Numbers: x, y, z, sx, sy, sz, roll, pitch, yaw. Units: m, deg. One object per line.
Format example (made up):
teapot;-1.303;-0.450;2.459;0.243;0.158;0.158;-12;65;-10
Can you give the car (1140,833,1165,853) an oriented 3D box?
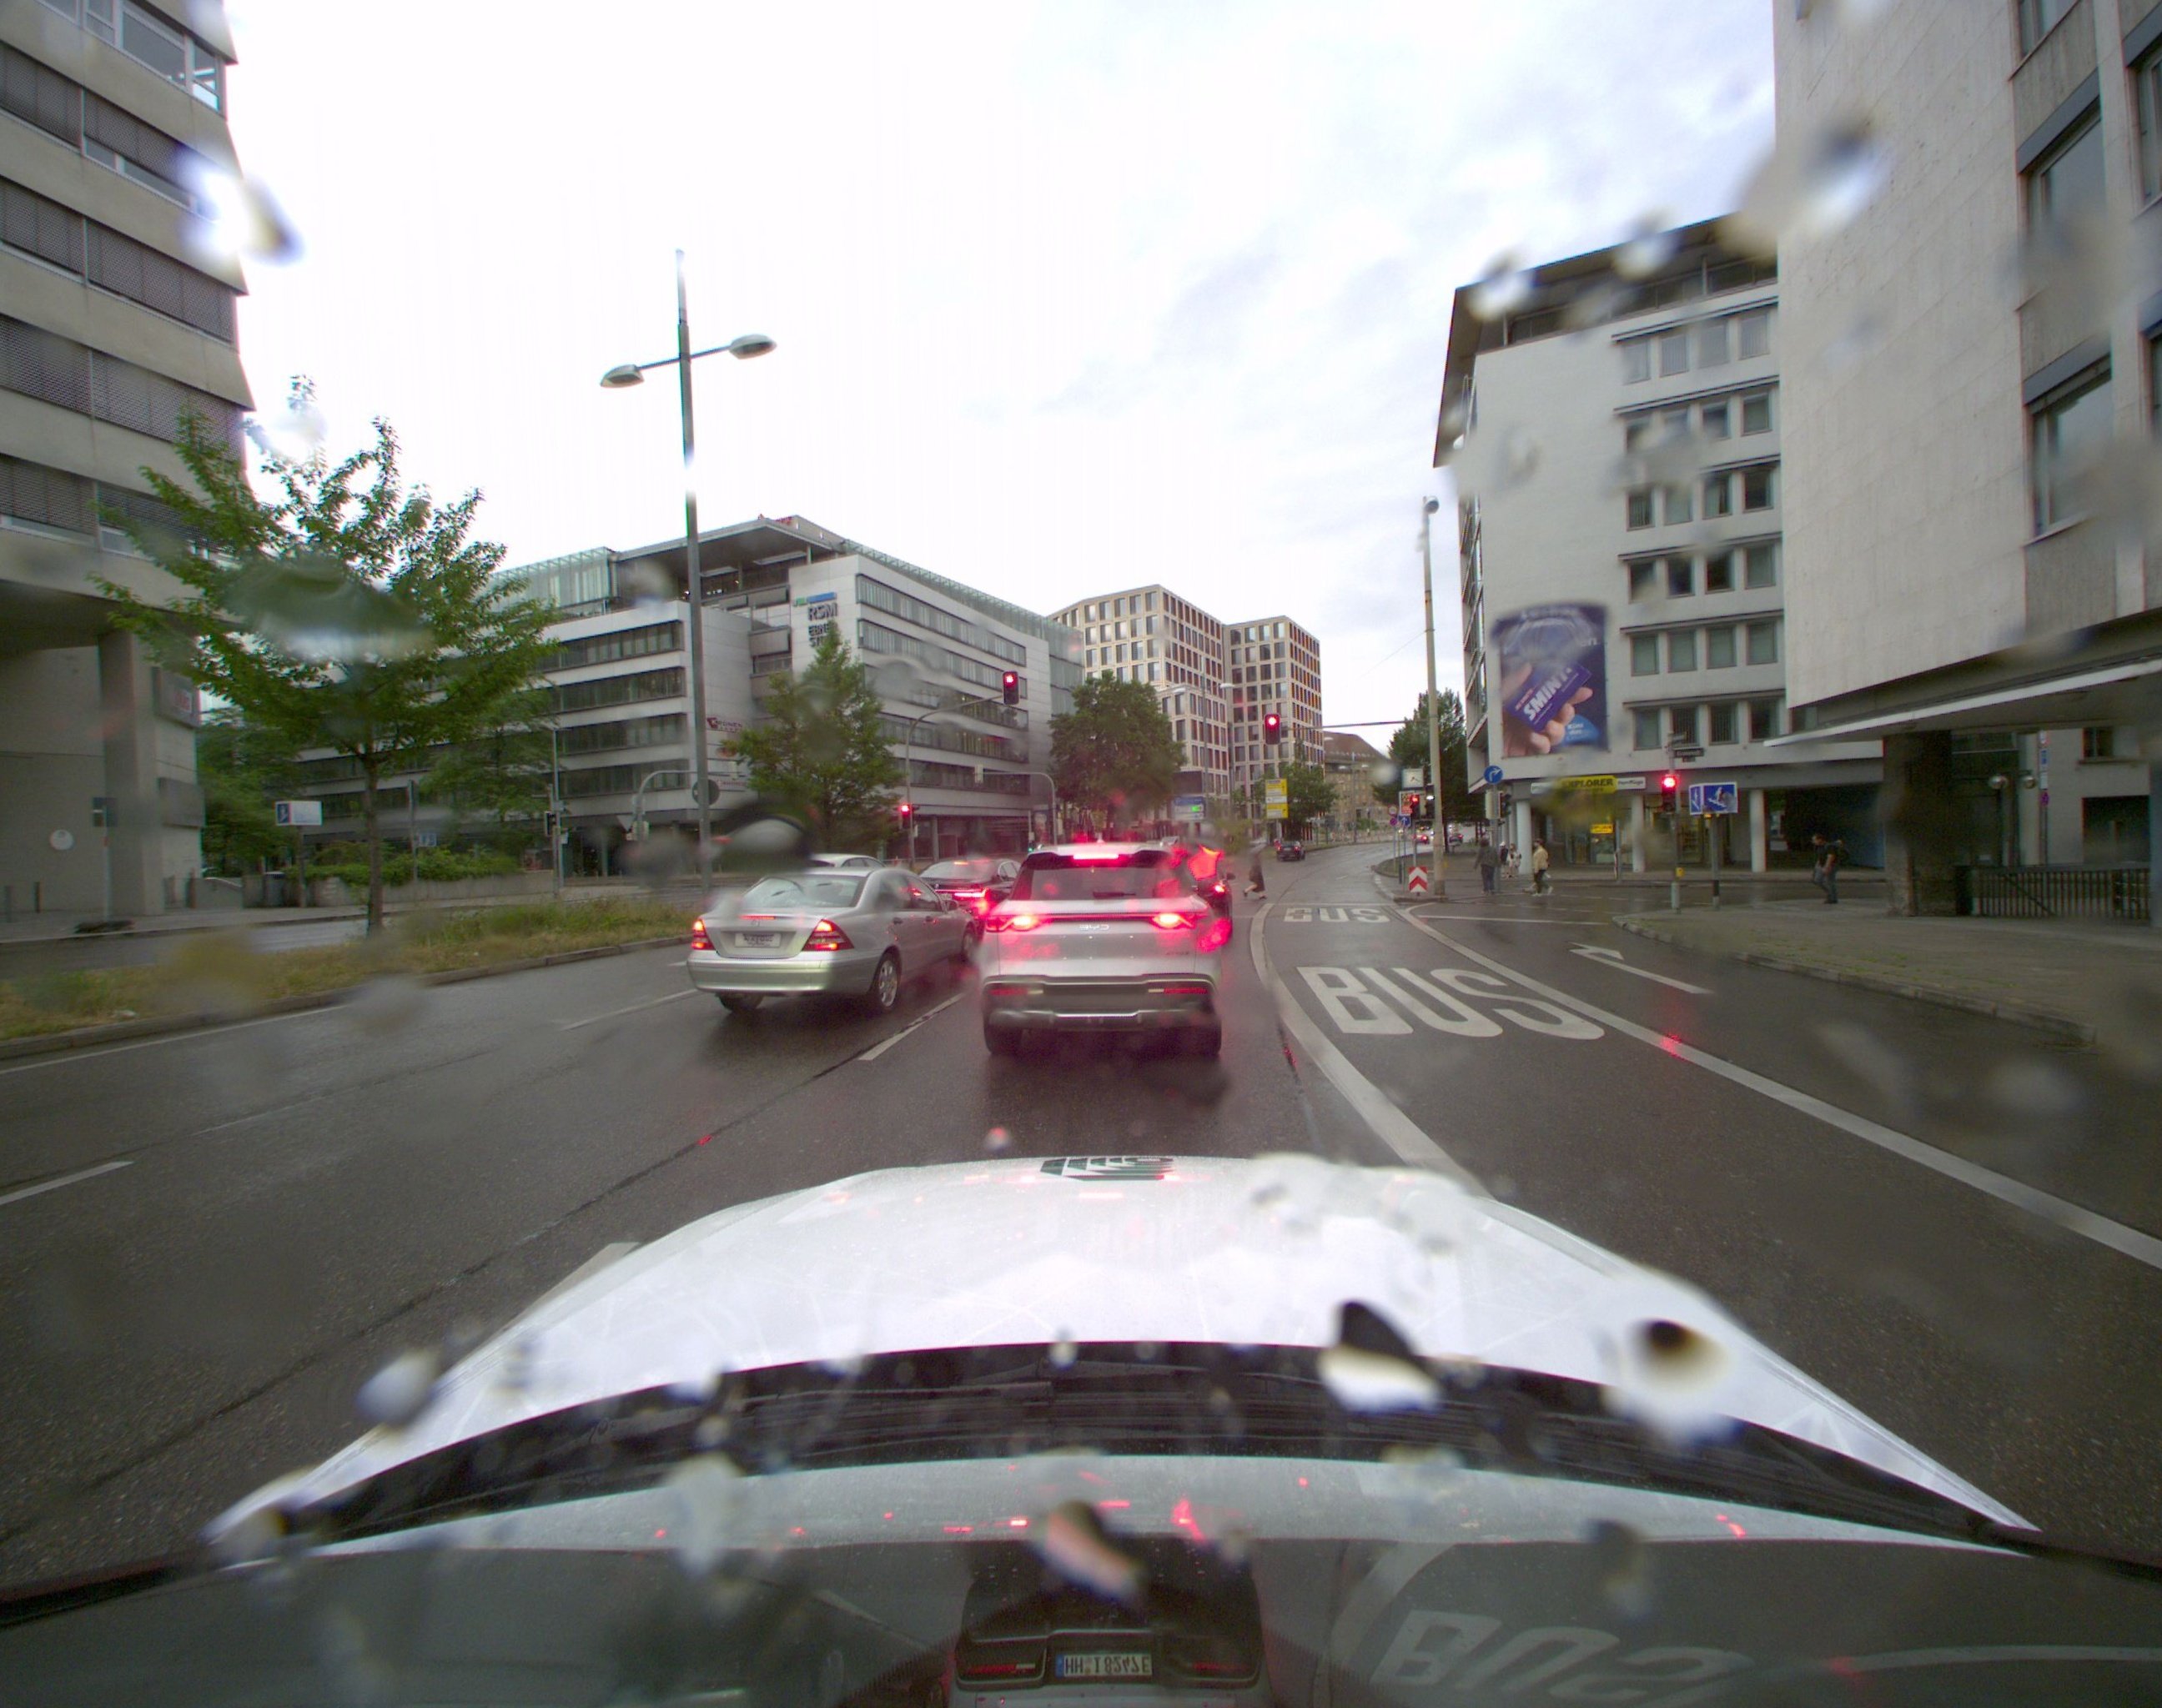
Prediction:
car;7.985;-1.210;90.451;1.723;2.161;4.516;0;0;20

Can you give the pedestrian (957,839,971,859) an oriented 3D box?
pedestrian;-9.854;-0.423;68.542;0.721;1.727;0.930;-1;0;23

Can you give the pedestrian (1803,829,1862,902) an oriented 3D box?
pedestrian;18.467;0.274;20.014;0.800;1.755;1.005;0;-1;-44

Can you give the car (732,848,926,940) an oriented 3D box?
car;-4.829;0.696;16.270;1.871;1.596;4.015;-1;0;14

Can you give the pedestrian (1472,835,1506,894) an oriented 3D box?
pedestrian;12.750;0.321;25.446;0.806;1.798;0.714;-1;0;17

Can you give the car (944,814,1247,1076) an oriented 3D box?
car;0.264;0.597;7.685;1.984;1.709;4.488;-2;0;4

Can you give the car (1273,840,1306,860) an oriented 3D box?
car;16.418;-0.336;63.857;1.976;1.552;4.022;0;1;22

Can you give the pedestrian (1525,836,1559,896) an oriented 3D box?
pedestrian;14.014;0.355;24.749;0.721;1.798;0.742;-1;0;17

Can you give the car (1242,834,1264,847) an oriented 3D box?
car;25.243;-2.006;119.175;1.975;1.705;4.336;-1;2;29

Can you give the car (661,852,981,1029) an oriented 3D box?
car;-2.543;0.751;9.164;1.672;1.486;4.207;-1;0;9

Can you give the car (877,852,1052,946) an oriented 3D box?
car;-2.043;0.755;15.568;1.941;1.530;4.014;-1;0;13

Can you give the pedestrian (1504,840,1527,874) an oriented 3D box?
pedestrian;19.554;0.134;36.653;0.721;1.524;0.763;-1;-1;17

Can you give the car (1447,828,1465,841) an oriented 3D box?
car;54.881;-2.857;119.073;2.027;1.765;4.384;0;1;30

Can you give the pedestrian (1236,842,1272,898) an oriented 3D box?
pedestrian;5.523;0.504;26.023;0.920;1.738;0.729;-1;0;-3

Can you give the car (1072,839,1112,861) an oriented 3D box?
car;1.016;-0.367;71.878;1.975;1.705;4.024;-1;2;25

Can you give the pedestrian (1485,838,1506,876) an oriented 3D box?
pedestrian;18.878;0.132;37.091;0.721;1.668;0.694;-1;-1;17

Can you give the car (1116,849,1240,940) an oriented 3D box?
car;2.036;0.701;15.970;1.941;1.530;4.014;-1;0;13
